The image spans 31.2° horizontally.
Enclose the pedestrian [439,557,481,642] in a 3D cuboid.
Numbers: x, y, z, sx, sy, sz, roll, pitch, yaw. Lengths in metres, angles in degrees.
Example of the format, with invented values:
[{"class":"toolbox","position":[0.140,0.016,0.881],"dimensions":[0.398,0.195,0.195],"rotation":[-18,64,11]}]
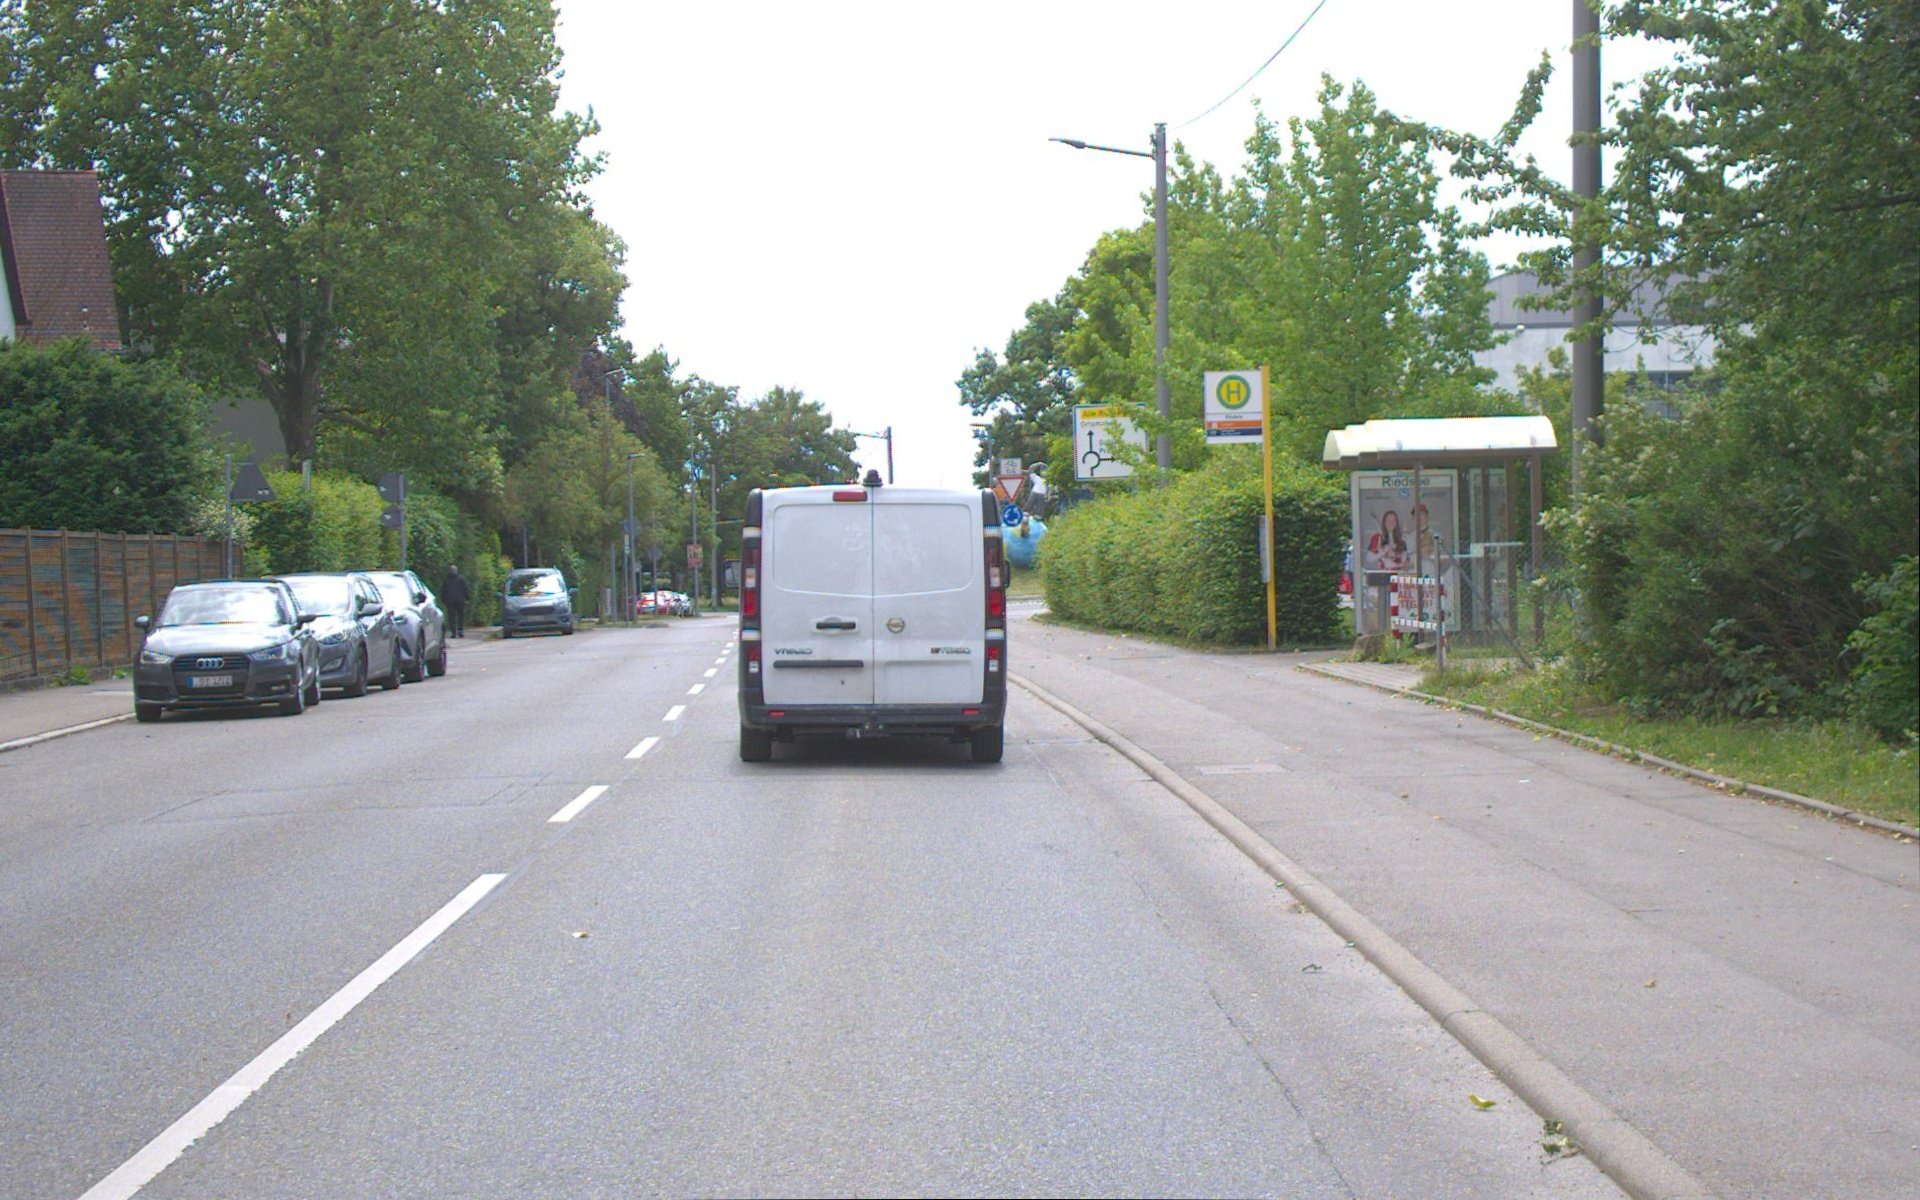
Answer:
[{"class":"pedestrian","position":[-12.072,-0.022,83.055],"dimensions":[0.871,2.007,1.041],"rotation":[-3,0,-7]}]

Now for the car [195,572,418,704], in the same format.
[{"class":"car","position":[-7.865,0.419,41.784],"dimensions":[1.867,1.454,4.489],"rotation":[-1,1,-1]}]

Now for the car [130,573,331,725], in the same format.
[{"class":"car","position":[-7.753,0.477,36.808],"dimensions":[1.651,1.422,3.907],"rotation":[-3,1,-6]}]

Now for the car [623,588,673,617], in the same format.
[{"class":"car","position":[-15.926,0.113,175.439],"dimensions":[2.062,1.381,4.049],"rotation":[-2,1,-12]}]

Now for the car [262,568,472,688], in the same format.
[{"class":"car","position":[-8.081,0.341,47.248],"dimensions":[1.993,1.474,4.647],"rotation":[-3,1,0]}]

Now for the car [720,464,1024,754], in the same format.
[{"class":"car","position":[-0.656,0.025,25.565],"dimensions":[2.034,1.939,4.994],"rotation":[0,1,-1]}]

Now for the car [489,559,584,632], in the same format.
[{"class":"car","position":[-10.625,-0.128,86.014],"dimensions":[2.131,1.766,4.466],"rotation":[0,1,-10]}]
